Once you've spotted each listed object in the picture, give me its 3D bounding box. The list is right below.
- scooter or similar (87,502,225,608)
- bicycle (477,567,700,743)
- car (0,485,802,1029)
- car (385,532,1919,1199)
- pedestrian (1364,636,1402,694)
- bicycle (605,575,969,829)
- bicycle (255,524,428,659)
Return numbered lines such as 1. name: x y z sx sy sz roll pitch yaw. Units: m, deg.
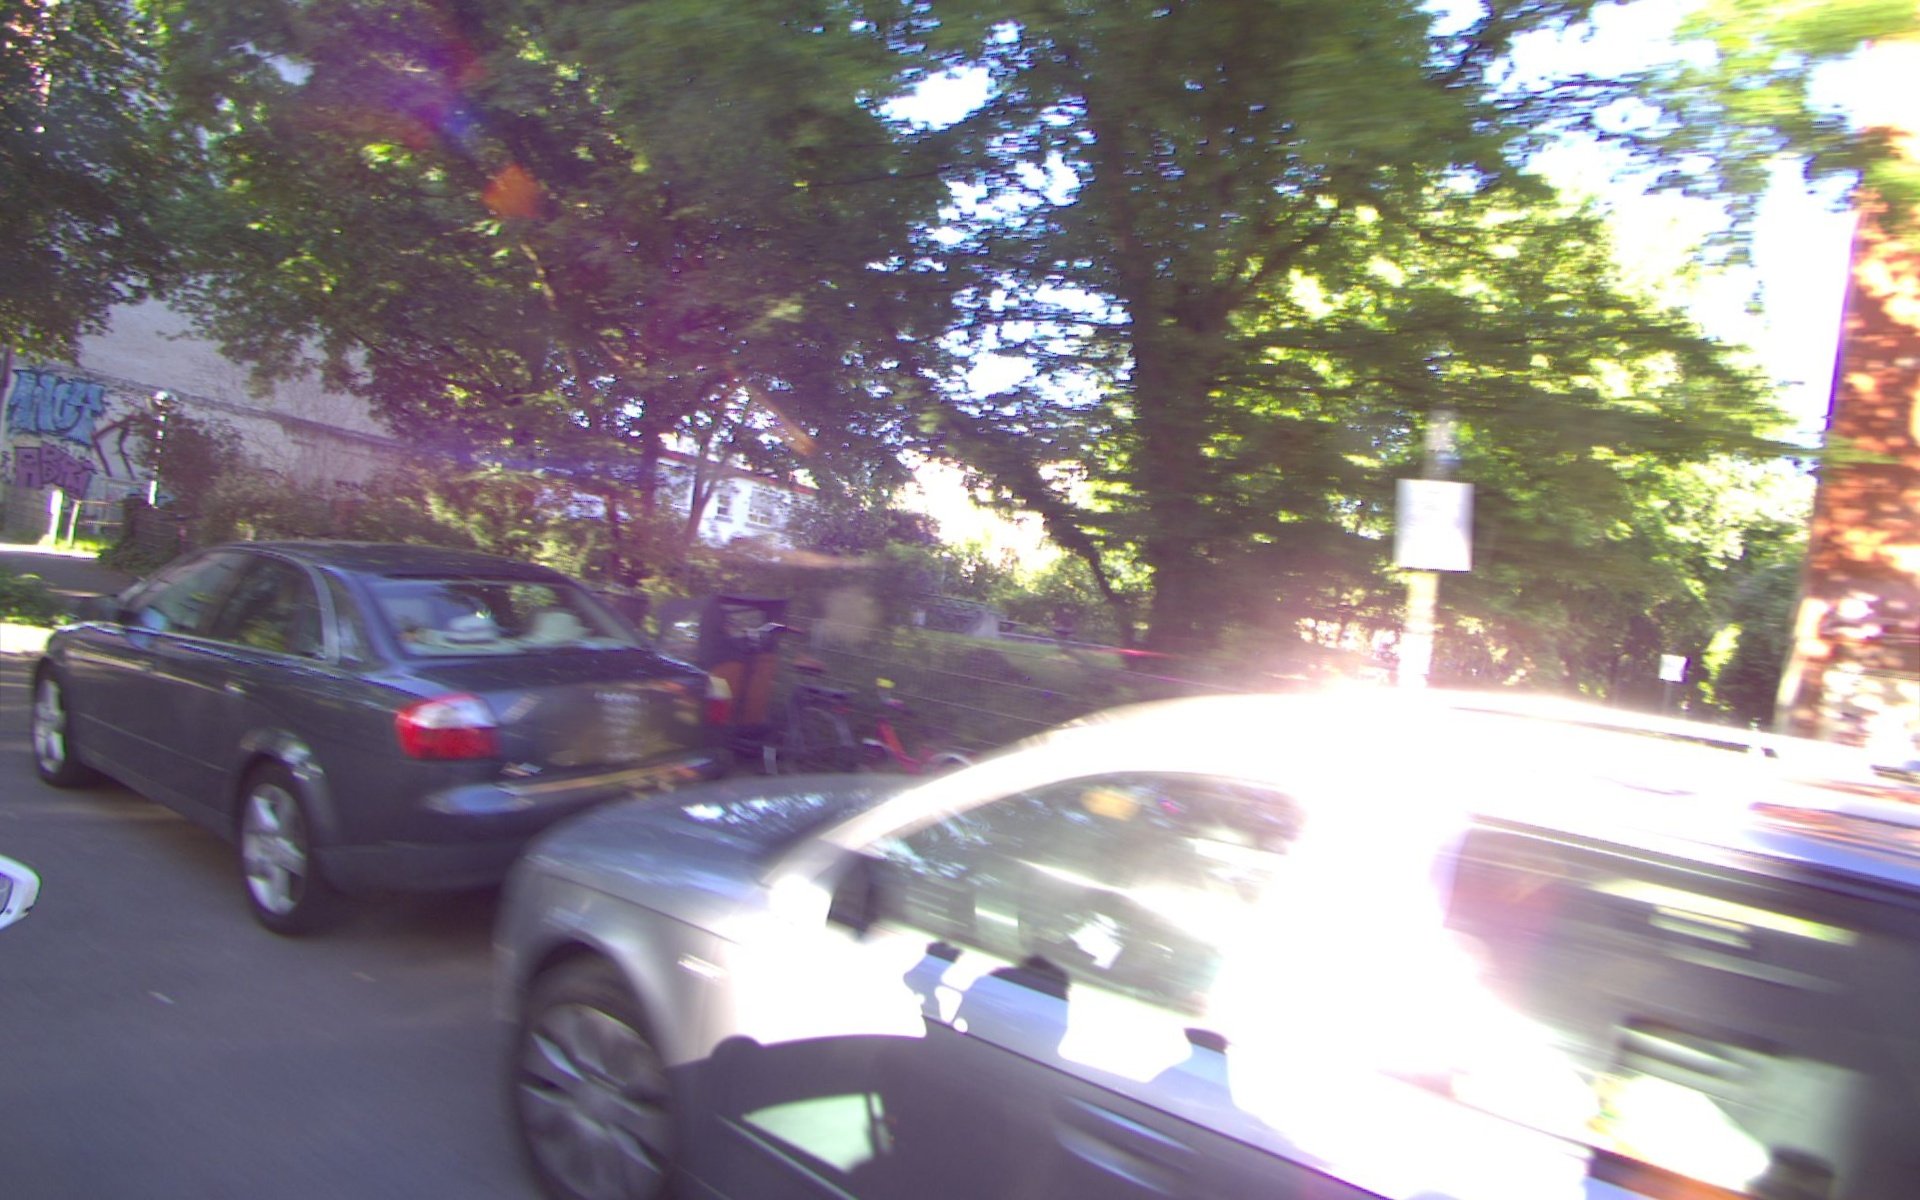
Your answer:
1. scooter or similar: -11.153 -0.613 13.969 1.445 1.278 0.546 7 2 6
2. bicycle: -3.298 0.449 8.845 1.952 1.216 0.846 8 1 39
3. car: -3.059 0.412 5.064 4.342 1.513 1.721 8 1 34
4. car: 0.665 0.859 2.176 4.287 1.512 1.659 8 0 37
5. pedestrian: 15.977 2.443 38.036 0.736 2.039 0.910 7 1 -7
6. bicycle: -1.282 0.629 7.199 2.293 1.319 1.289 8 2 40
7. bicycle: -7.529 -0.133 12.171 2.652 1.283 0.846 8 1 39
